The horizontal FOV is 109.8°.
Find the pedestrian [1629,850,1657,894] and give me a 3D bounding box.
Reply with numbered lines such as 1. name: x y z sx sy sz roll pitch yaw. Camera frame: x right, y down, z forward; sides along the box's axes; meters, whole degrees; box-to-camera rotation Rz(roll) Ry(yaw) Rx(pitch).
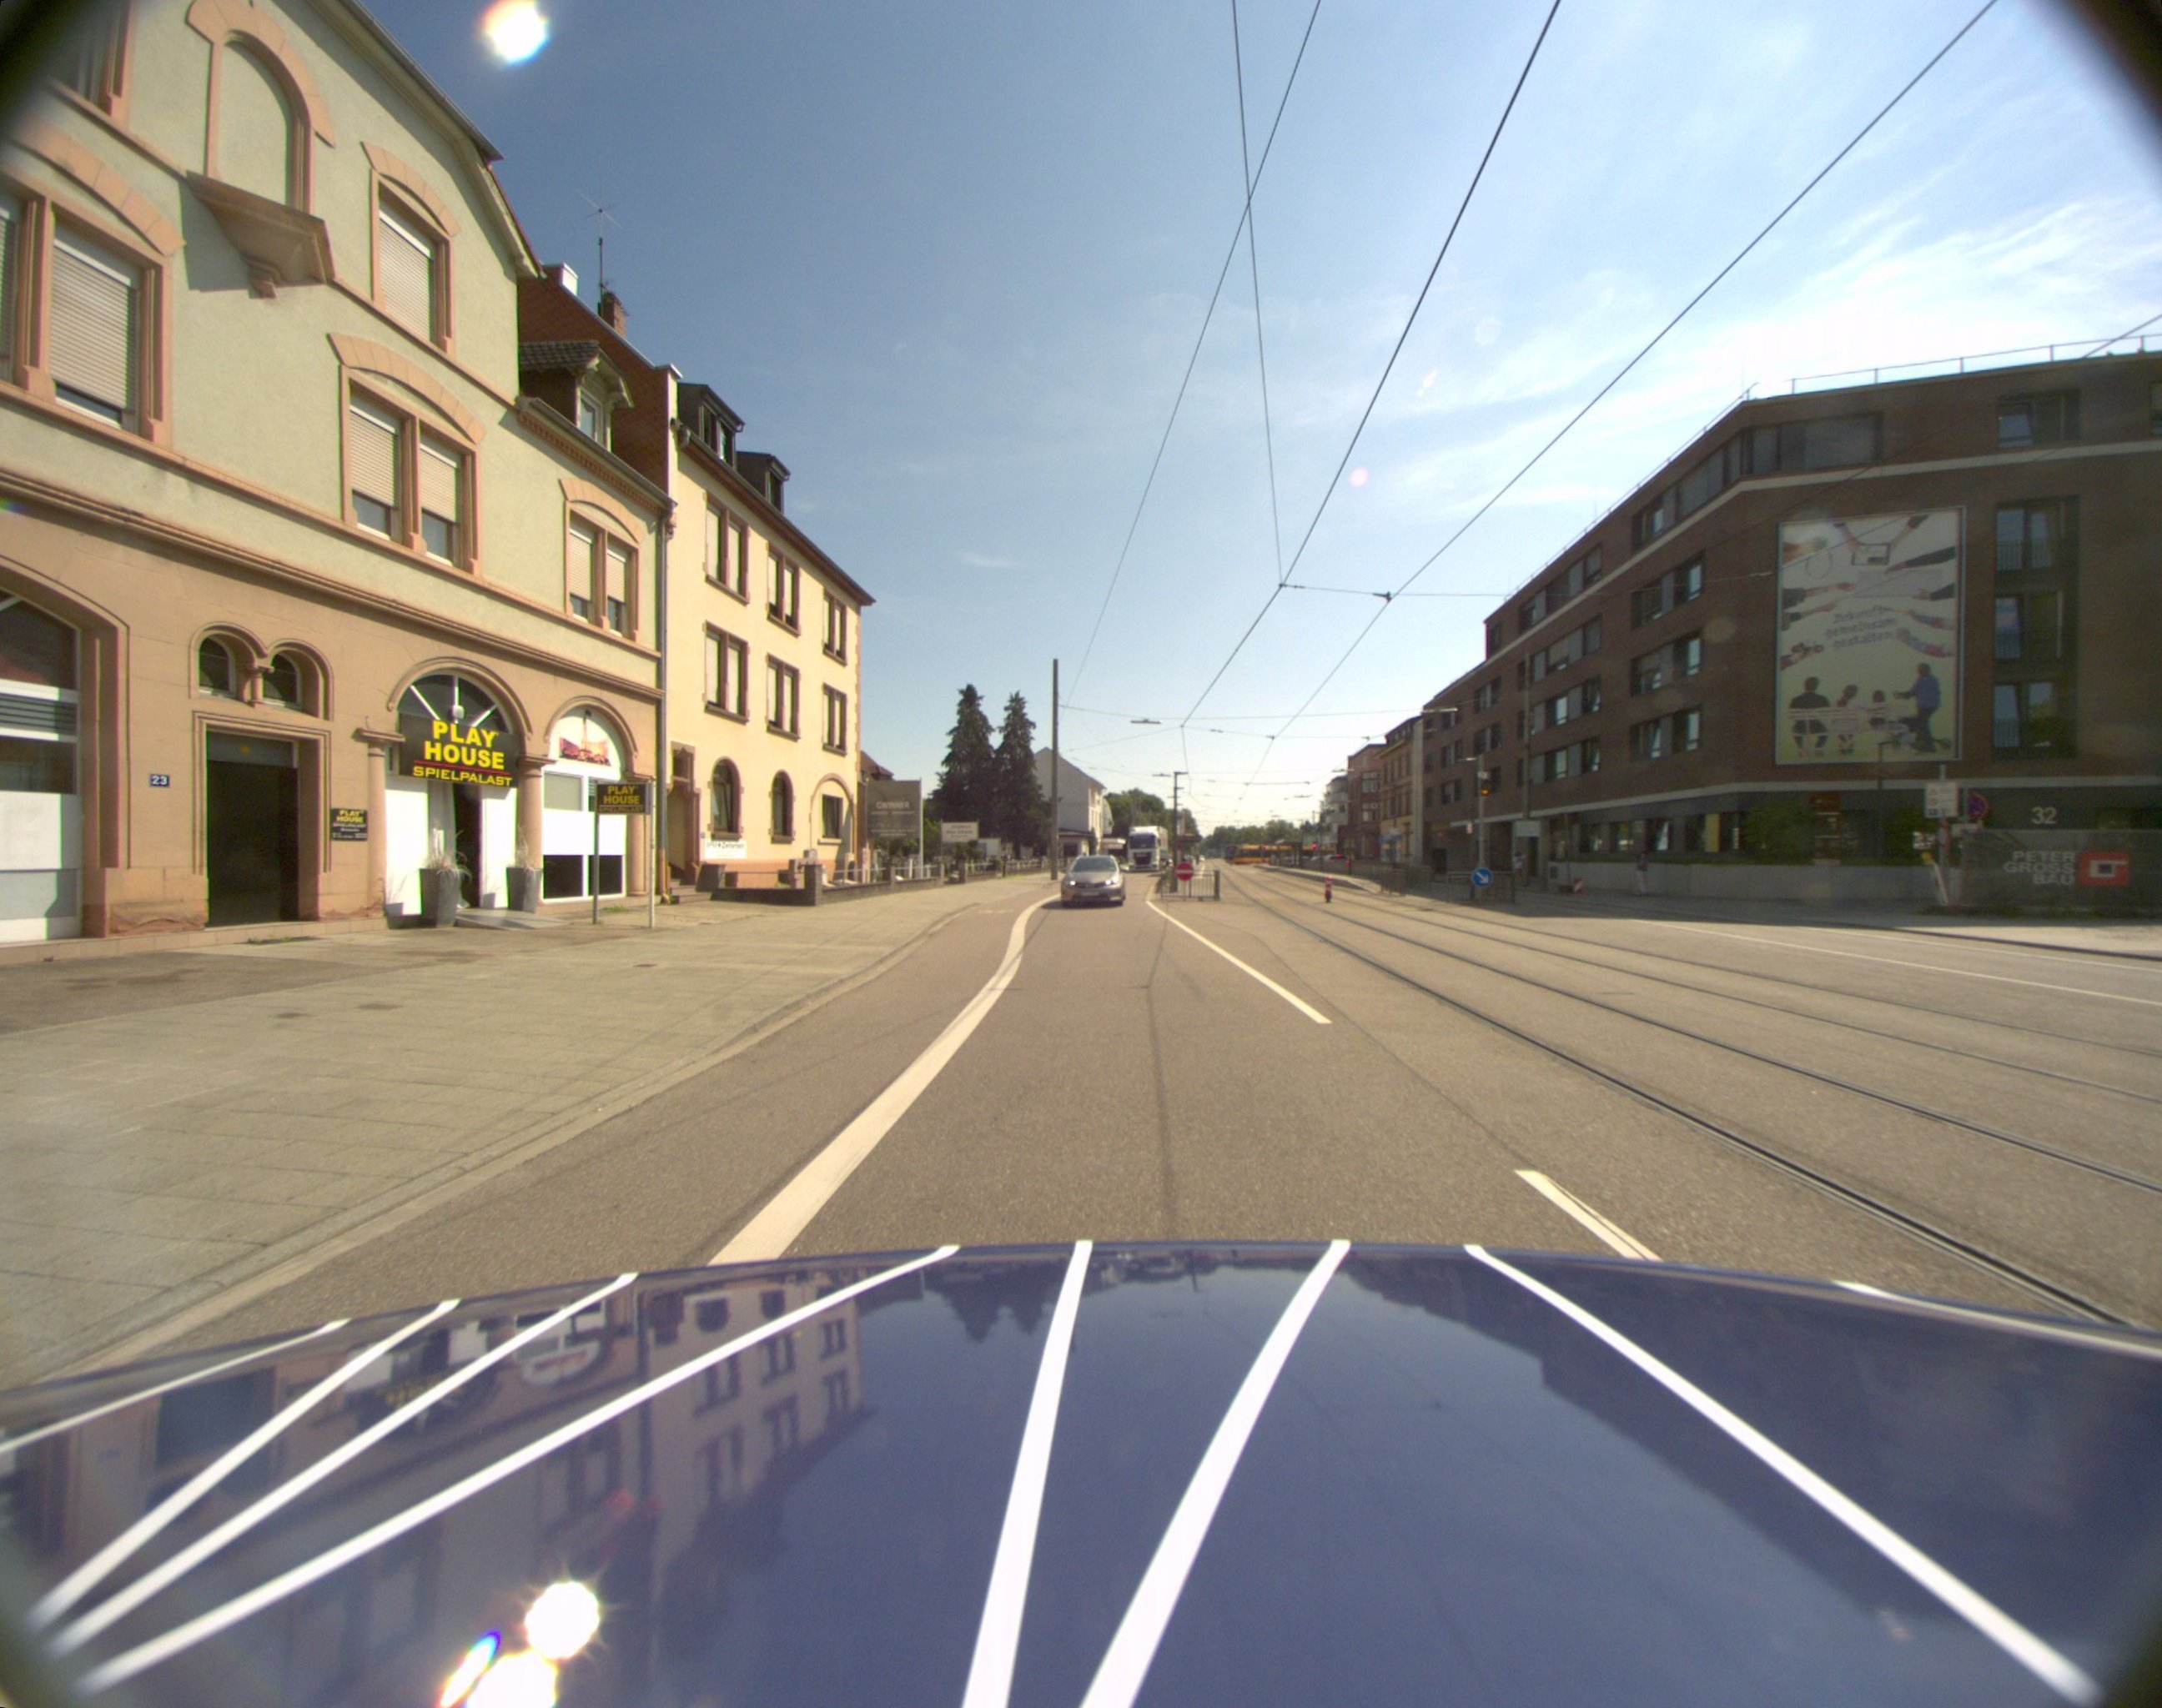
1. pedestrian: 21.490 0.672 29.053 0.582 1.654 0.700 0 0 8

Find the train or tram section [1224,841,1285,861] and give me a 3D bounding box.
1. train or tram section: 30.758 -0.550 134.021 13.365 3.460 2.681 0 0 -39

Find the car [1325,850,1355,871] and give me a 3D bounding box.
1. car: 22.460 0.585 65.937 1.804 1.718 4.192 -2 0 10

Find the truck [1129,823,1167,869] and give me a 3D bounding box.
1. truck: 5.959 -0.651 66.591 2.655 3.772 7.869 0 0 10

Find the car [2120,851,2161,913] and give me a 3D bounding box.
1. car: 27.524 0.622 17.464 3.989 1.415 1.806 -2 0 42

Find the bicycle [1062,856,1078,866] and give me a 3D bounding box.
1. bicycle: -1.210 0.738 82.002 1.685 1.104 0.515 1 0 34

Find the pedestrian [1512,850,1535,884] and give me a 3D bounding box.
1. pedestrian: 23.501 0.691 40.354 0.846 1.808 0.839 0 0 10

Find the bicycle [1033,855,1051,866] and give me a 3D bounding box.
1. bicycle: -4.209 0.716 81.916 1.794 1.104 0.513 1 0 13

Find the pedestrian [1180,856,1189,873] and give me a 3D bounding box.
1. pedestrian: 7.716 0.741 56.474 0.630 1.247 0.710 1 0 9

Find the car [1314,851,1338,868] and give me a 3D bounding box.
1. car: 23.925 0.542 74.187 1.715 1.613 3.581 -1 0 10

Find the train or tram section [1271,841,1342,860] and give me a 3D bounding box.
1. train or tram section: 41.654 -0.597 140.123 13.348 3.460 2.684 0 0 -17

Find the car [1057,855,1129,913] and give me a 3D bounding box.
1. car: 0.445 0.786 21.947 1.694 1.440 4.482 -1 0 5

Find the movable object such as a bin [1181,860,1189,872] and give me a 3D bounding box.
1. movable object such as a bin: 7.806 0.916 57.066 0.630 0.895 0.489 1 0 9

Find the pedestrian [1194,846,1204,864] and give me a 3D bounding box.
1. pedestrian: 12.702 0.109 81.860 0.982 1.847 1.238 0 0 10
